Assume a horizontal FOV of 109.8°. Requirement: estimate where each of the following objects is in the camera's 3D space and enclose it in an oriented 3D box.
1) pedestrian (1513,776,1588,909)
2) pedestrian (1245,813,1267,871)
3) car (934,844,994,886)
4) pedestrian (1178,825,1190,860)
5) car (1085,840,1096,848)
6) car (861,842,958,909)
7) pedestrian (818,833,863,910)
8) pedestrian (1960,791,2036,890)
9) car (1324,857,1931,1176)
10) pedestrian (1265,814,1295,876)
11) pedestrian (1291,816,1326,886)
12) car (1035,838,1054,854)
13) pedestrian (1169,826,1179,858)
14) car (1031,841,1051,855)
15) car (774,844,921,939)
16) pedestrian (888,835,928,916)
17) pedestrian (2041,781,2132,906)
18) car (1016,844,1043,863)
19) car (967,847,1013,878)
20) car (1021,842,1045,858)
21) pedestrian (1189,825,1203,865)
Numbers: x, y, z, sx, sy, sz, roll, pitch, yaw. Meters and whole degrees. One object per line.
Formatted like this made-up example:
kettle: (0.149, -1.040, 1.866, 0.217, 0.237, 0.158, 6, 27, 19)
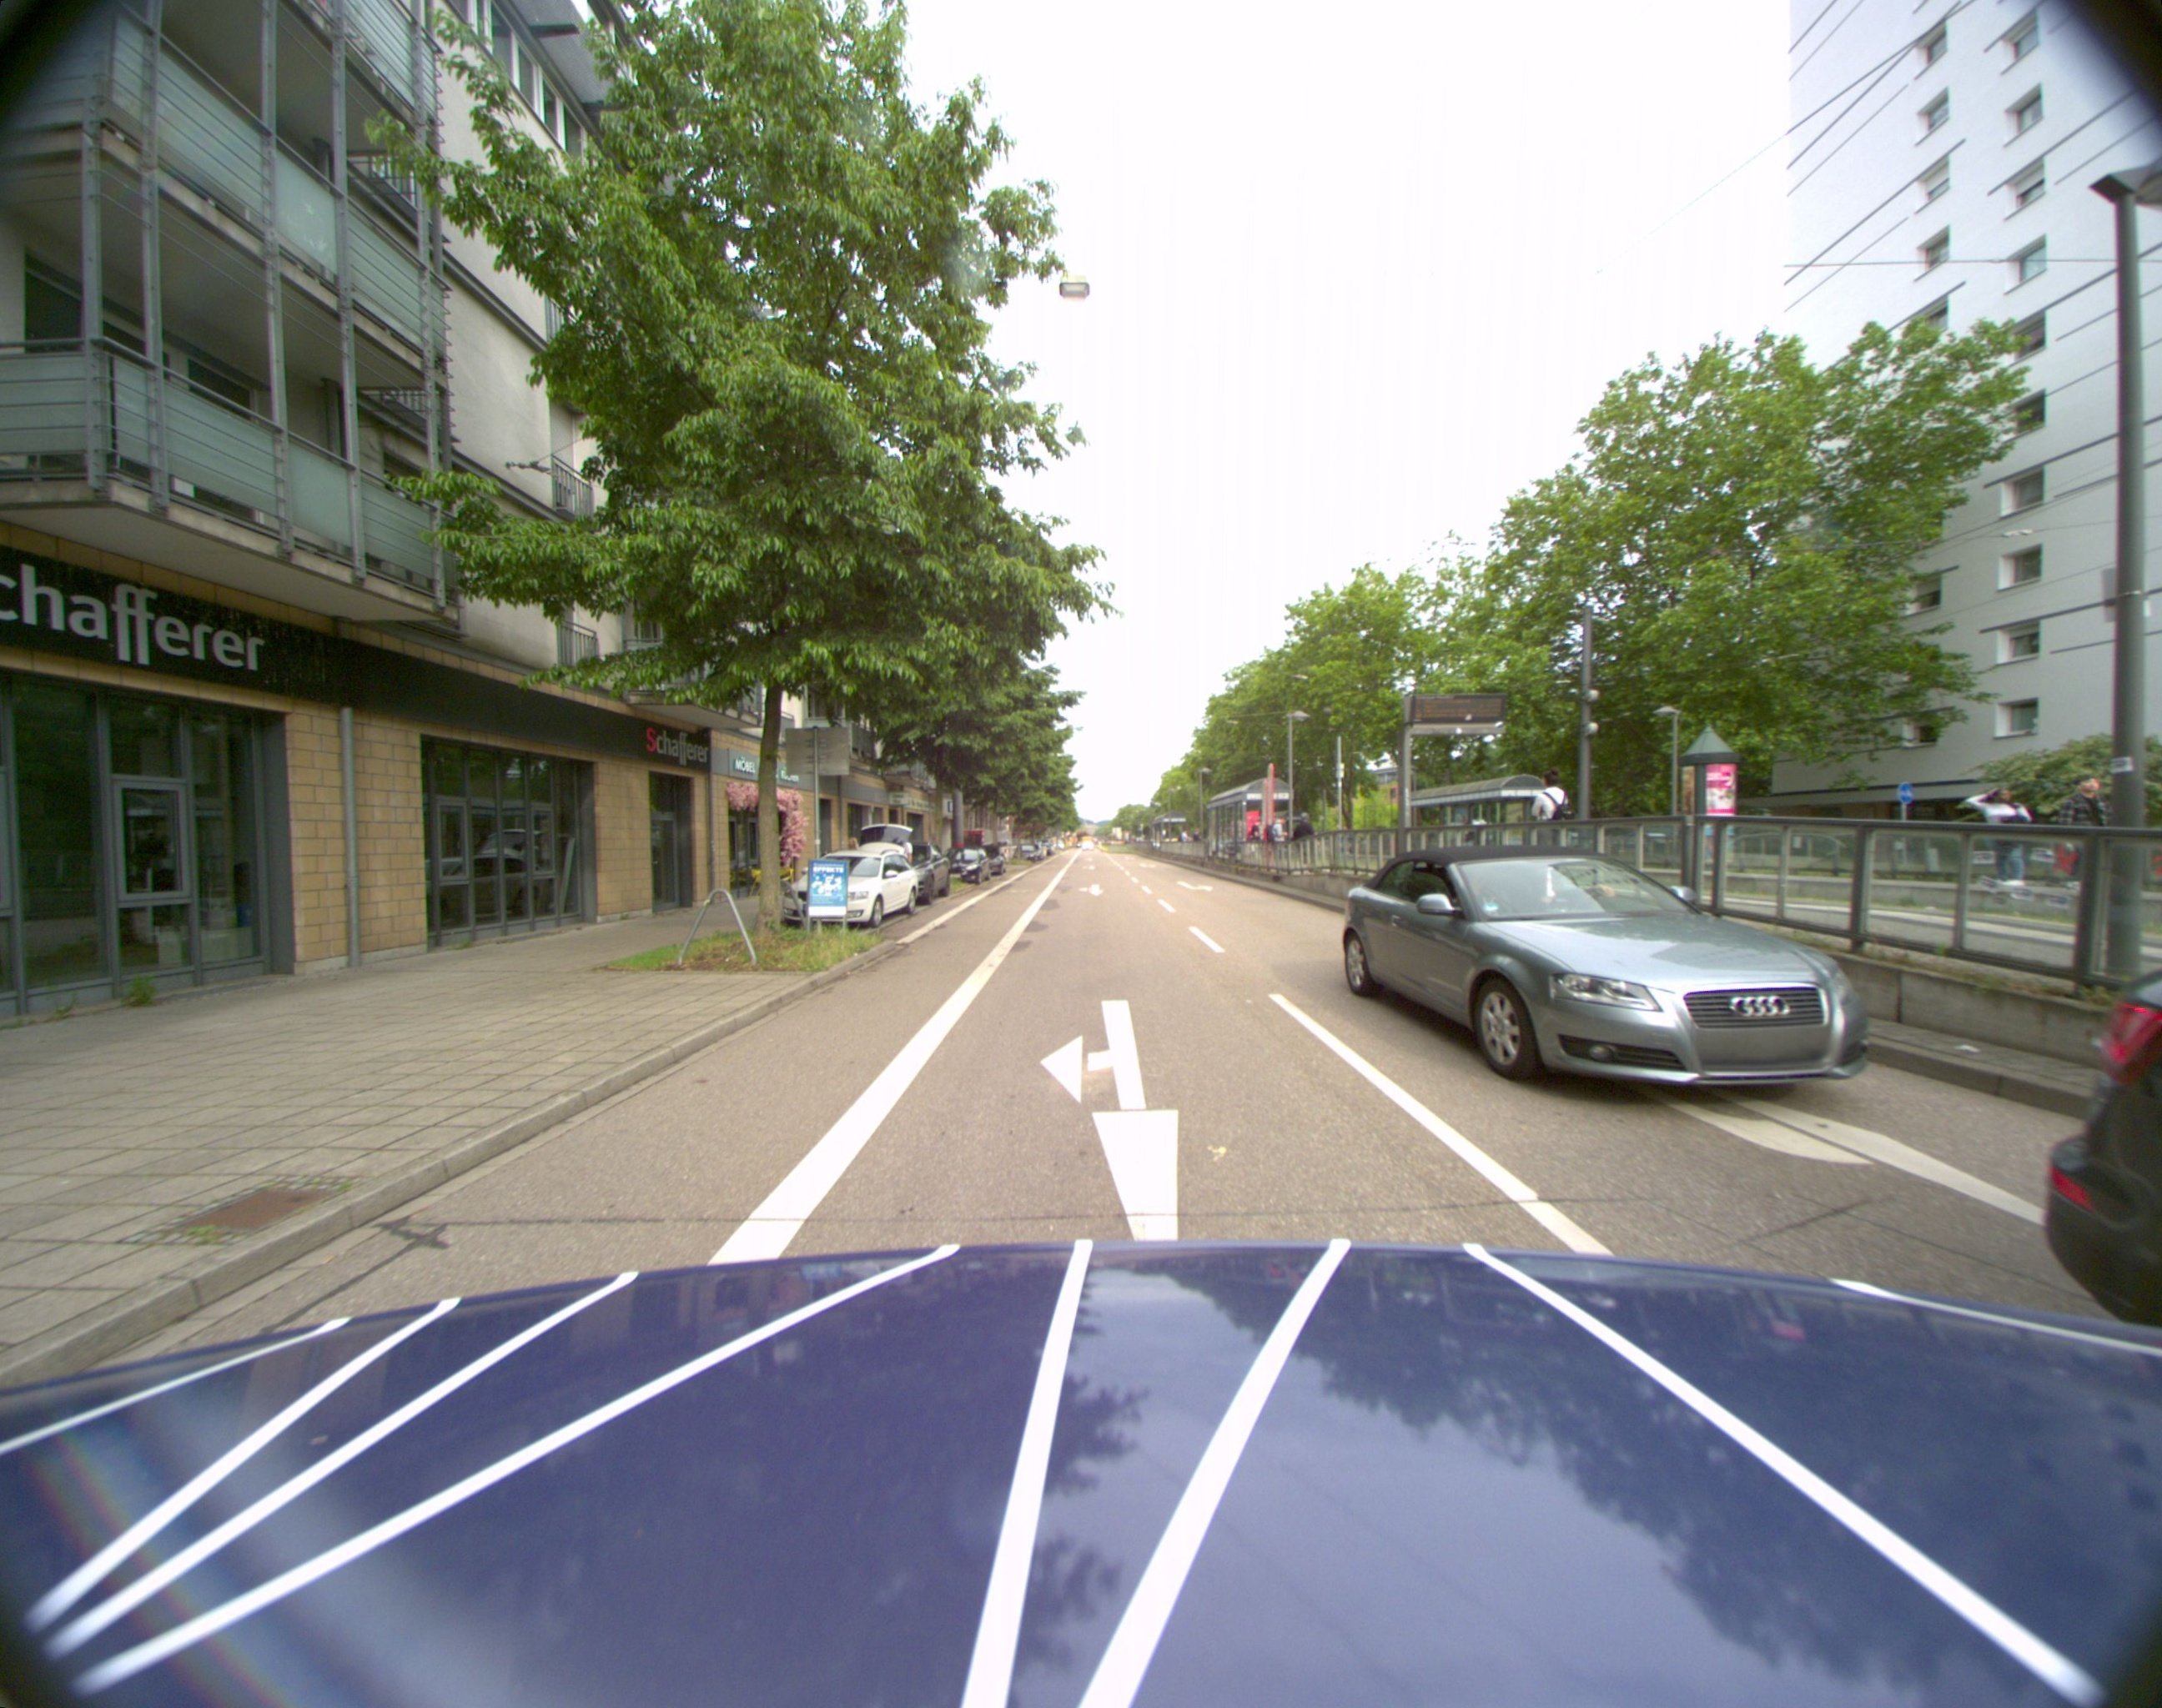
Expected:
pedestrian: (6.402, -0.158, 10.374, 0.662, 1.741, 0.534, -2, 2, 1)
pedestrian: (6.253, -0.435, 27.165, 0.585, 2.039, 0.821, -2, 2, 4)
car: (-4.555, 0.382, 30.047, 1.684, 1.536, 3.942, 1, 1, 1)
pedestrian: (5.993, -0.675, 44.405, 0.585, 2.039, 0.821, -2, 2, 4)
car: (1.552, -1.704, 127.239, 1.865, 1.339, 3.815, 1, 1, 1)
car: (-4.612, 0.501, 20.948, 1.730, 1.652, 3.942, 1, 1, 1)
pedestrian: (-5.822, 0.402, 18.466, 0.745, 1.795, 0.839, -2, 2, 0)
pedestrian: (15.904, -0.226, 13.190, 0.622, 1.659, 0.565, -2, 2, 1)
car: (3.247, 0.787, 5.620, 1.637, 1.367, 4.013, -2, 1, 1)
pedestrian: (5.848, -0.272, 22.369, 0.683, 1.781, 0.821, -2, 2, 4)
pedestrian: (5.836, -0.079, 19.492, 0.661, 1.781, 0.535, -1, 2, 41)
car: (-3.864, -0.892, 81.343, 1.730, 1.675, 3.815, 1, 1, 1)
pedestrian: (6.024, -0.779, 49.276, 0.585, 2.039, 0.821, -2, 2, 4)
car: (-3.912, -0.605, 75.490, 1.730, 1.375, 3.815, 1, 1, 1)
car: (-4.662, 0.648, 15.806, 1.730, 1.652, 4.102, 1, 1, 1)
pedestrian: (-4.210, 0.521, 18.526, 0.652, 1.922, 0.643, -2, 2, 16)
pedestrian: (14.821, -0.147, 11.215, 0.622, 1.779, 0.534, -2, 2, 1)
car: (-3.960, -0.095, 58.828, 1.730, 1.375, 3.815, 1, 1, 1)
car: (-4.454, 0.369, 37.665, 1.730, 1.375, 3.815, 1, 1, 1)
car: (-4.097, -0.367, 65.241, 1.730, 1.375, 3.815, 1, 1, 1)
pedestrian: (5.950, -0.460, 39.319, 0.585, 2.039, 0.821, -2, 2, 4)
